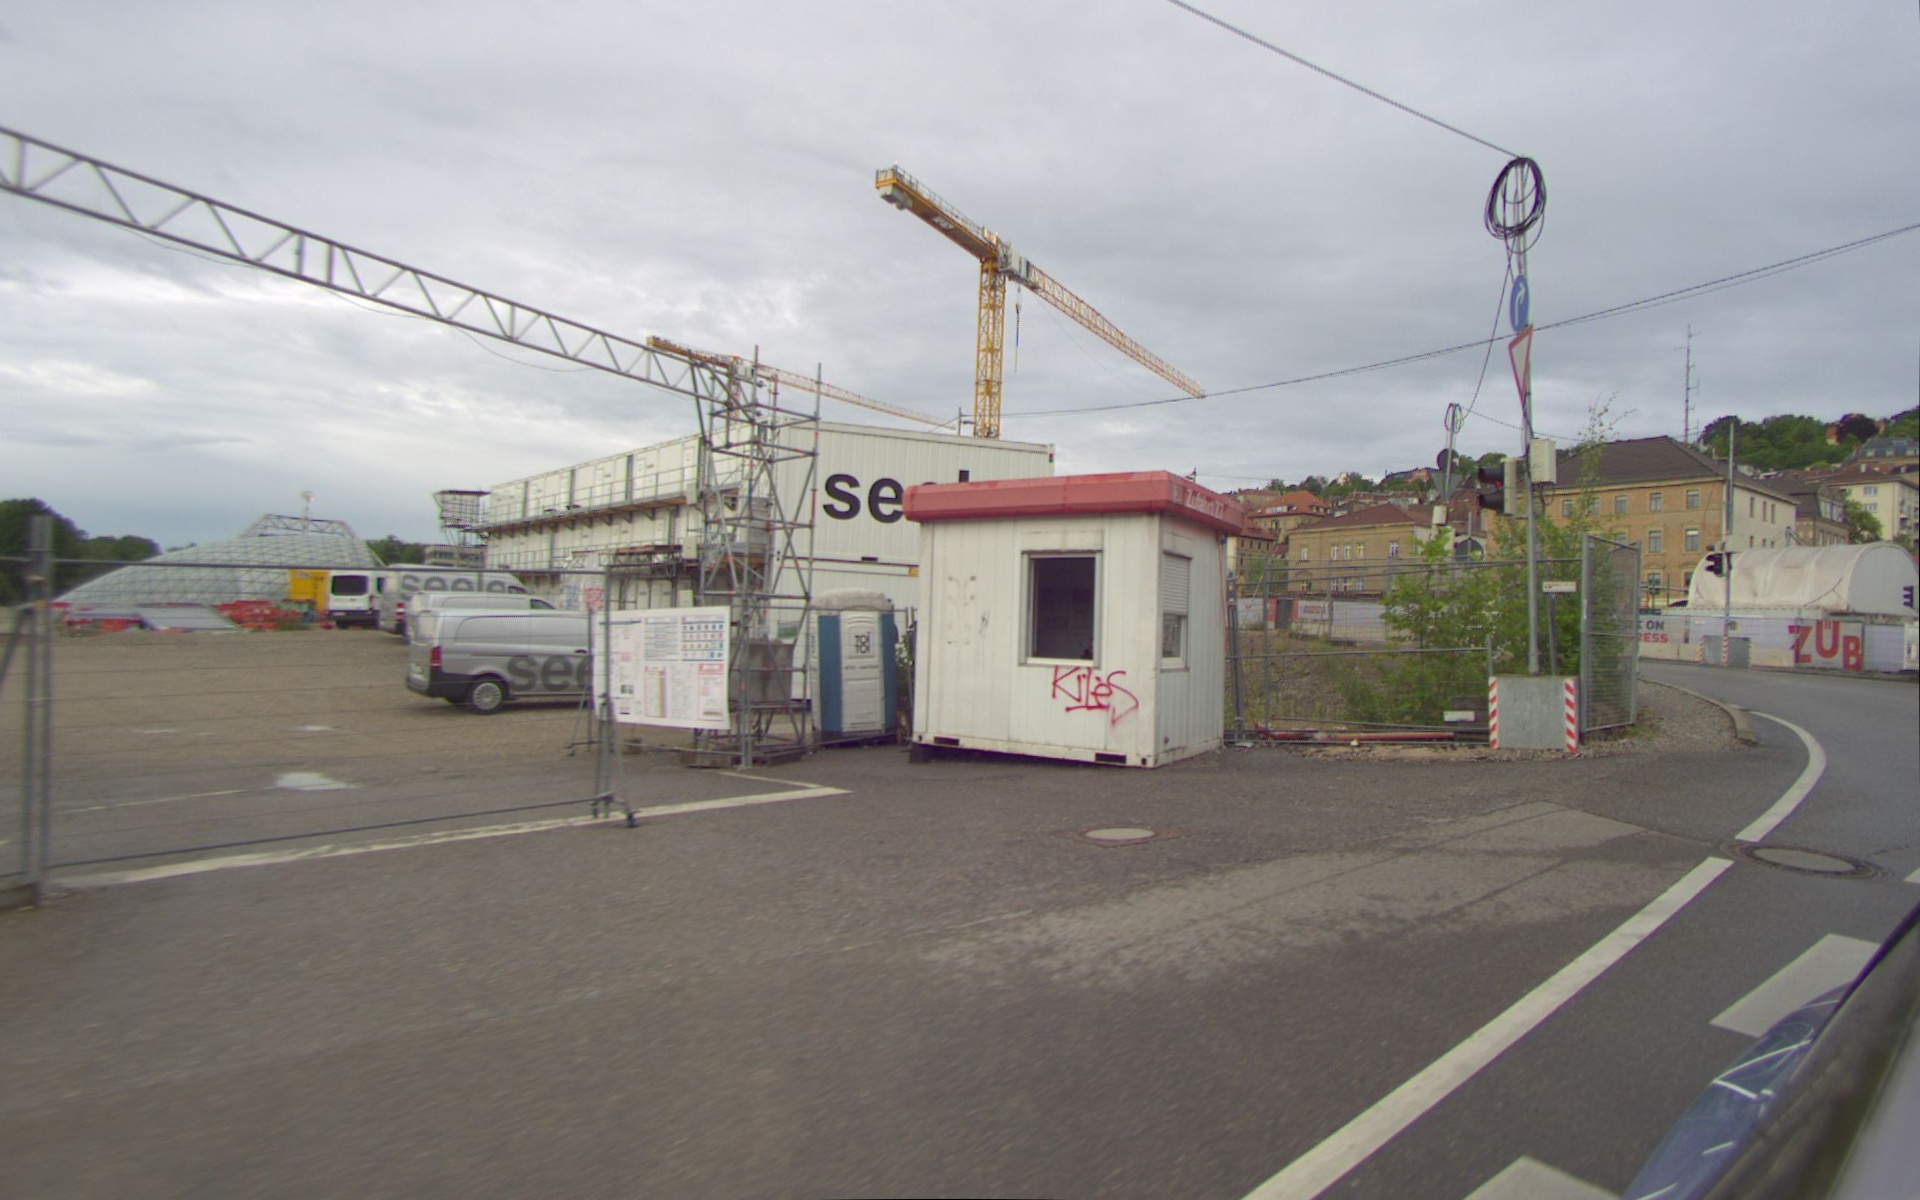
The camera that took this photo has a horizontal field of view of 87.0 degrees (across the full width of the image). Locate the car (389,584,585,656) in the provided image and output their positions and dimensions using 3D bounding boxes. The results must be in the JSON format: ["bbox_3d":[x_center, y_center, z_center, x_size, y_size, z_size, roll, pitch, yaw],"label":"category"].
[{"bbox_3d":[-14.049,0.549,30.302,1.994,1.910,4.906,4,2,42],"label":"car"}]

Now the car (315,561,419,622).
[{"bbox_3d":[-25.224,-0.416,43.265,2.108,2.413,4.407,2,1,-5],"label":"car"}]

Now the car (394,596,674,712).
[{"bbox_3d":[-8.177,0.980,19.664,4.572,1.925,2.017,2,1,-41],"label":"car"}]

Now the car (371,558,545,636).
[{"bbox_3d":[-17.057,-0.105,34.583,1.993,2.472,4.906,2,1,42],"label":"car"}]
